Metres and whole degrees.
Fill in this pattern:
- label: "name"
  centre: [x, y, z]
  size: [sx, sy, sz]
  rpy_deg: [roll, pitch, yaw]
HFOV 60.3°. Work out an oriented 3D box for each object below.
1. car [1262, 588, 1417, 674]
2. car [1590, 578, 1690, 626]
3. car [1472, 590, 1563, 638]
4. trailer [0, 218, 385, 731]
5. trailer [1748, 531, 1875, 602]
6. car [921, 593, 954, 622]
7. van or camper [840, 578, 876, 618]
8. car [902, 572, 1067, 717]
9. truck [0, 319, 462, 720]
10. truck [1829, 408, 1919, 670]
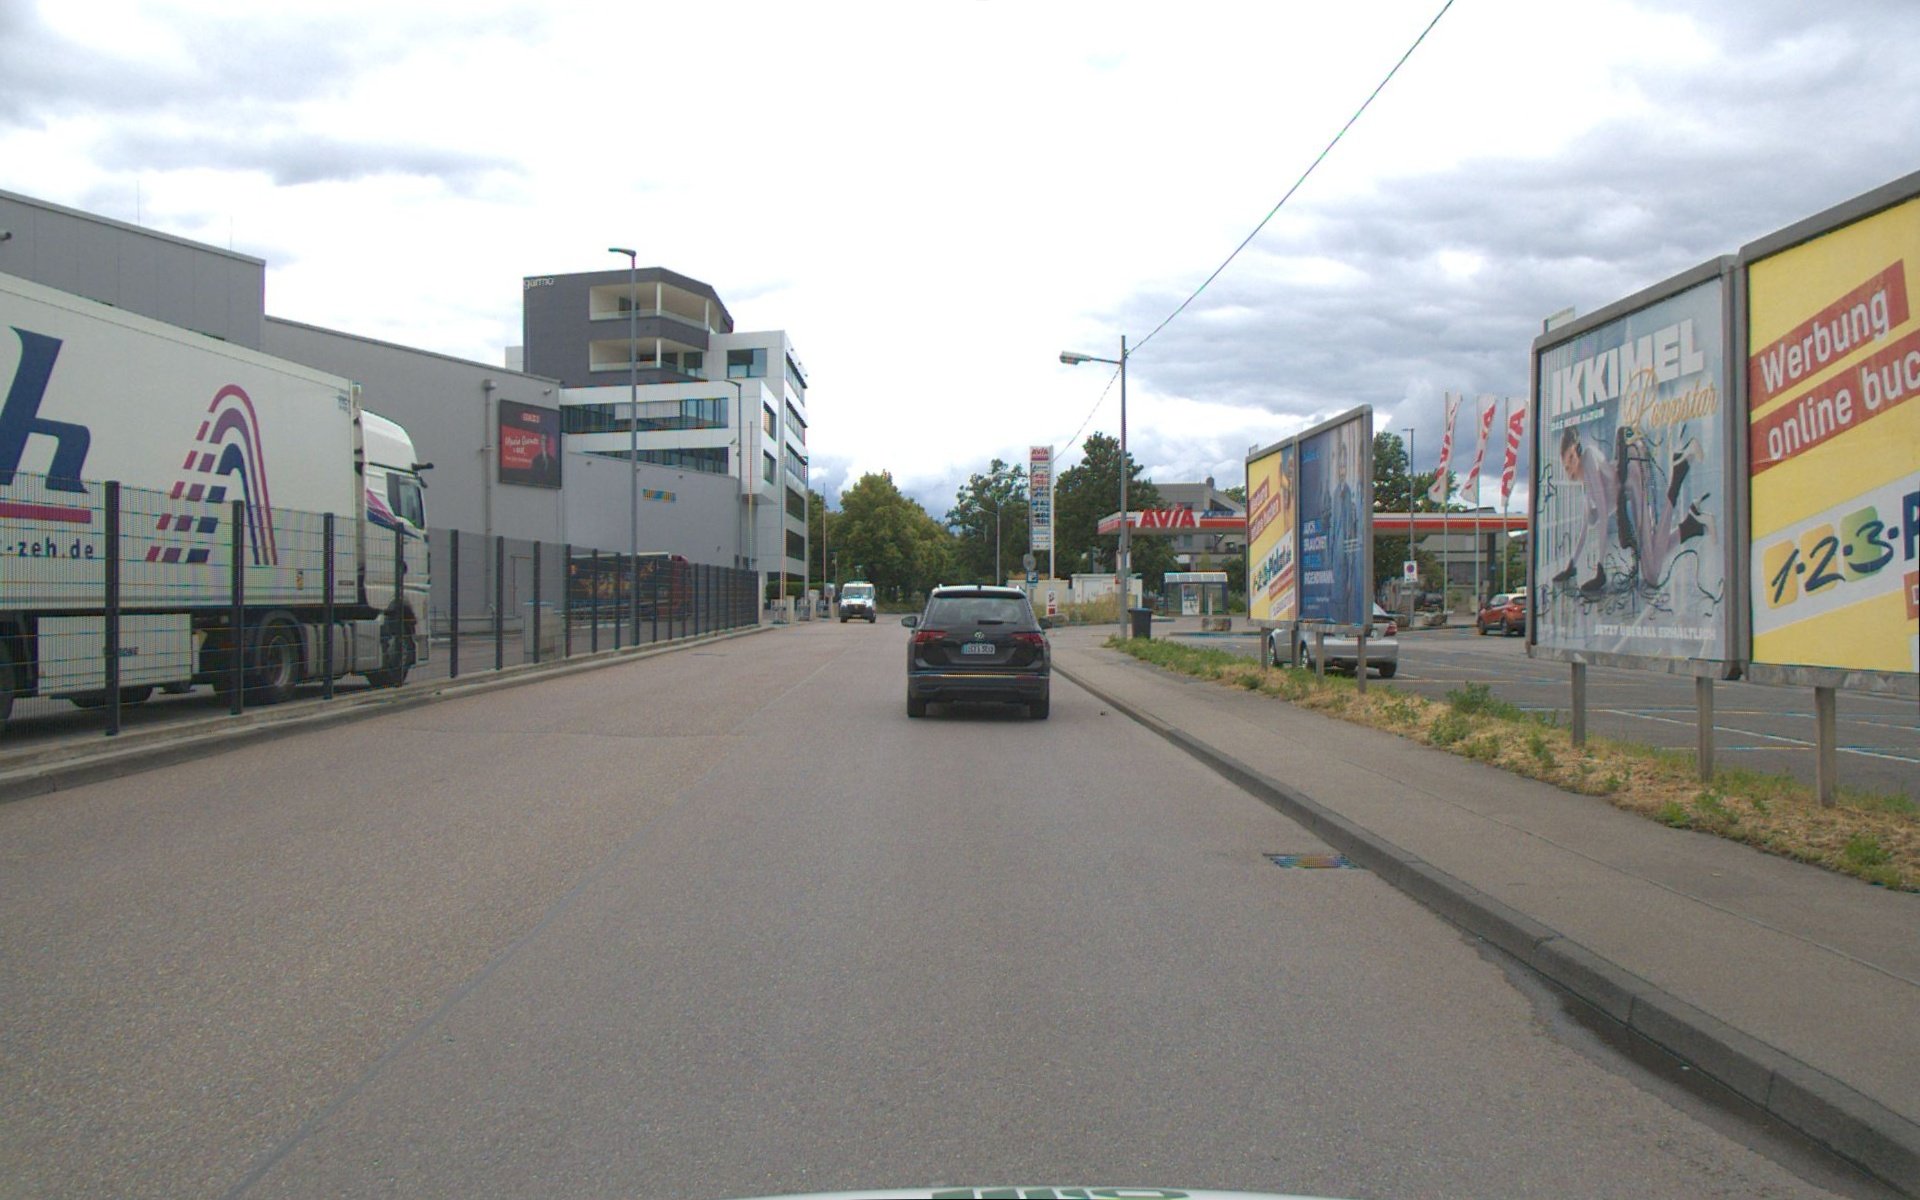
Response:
- label: "car"
  centre: [7.090, 0.547, 31.318]
  size: [1.851, 1.470, 4.428]
  rpy_deg: [2, 0, -1]
- label: "car"
  centre: [25.919, 0.067, 63.173]
  size: [1.954, 1.736, 4.186]
  rpy_deg: [0, 0, -3]
- label: "car"
  centre: [21.186, 0.514, 62.992]
  size: [1.954, 1.736, 3.998]
  rpy_deg: [0, 0, -3]
- label: "trailer"
  centre: [-9.519, -0.972, 14.985]
  size: [3.069, 4.335, 14.022]
  rpy_deg: [-4, 0, 2]
- label: "trailer"
  centre: [46.906, -1.851, 91.338]
  size: [2.952, 3.758, 7.489]
  rpy_deg: [0, 1, -2]
- label: "car"
  centre: [-1.387, 0.442, 101.845]
  size: [1.953, 1.713, 4.370]
  rpy_deg: [0, 1, -2]
- label: "van or camper"
  centre: [-6.056, -0.113, 98.219]
  size: [1.953, 2.296, 3.999]
  rpy_deg: [0, 0, -1]
- label: "car"
  centre: [0.257, 0.535, 21.788]
  size: [1.953, 1.713, 4.370]
  rpy_deg: [0, 0, -1]
- label: "truck"
  centre: [-9.305, -0.867, 21.529]
  size: [3.064, 4.188, 6.943]
  rpy_deg: [-4, 0, 2]
- label: "truck"
  centre: [20.587, -1.215, 31.960]
  size: [3.239, 5.182, 8.515]
  rpy_deg: [0, 0, 1]
